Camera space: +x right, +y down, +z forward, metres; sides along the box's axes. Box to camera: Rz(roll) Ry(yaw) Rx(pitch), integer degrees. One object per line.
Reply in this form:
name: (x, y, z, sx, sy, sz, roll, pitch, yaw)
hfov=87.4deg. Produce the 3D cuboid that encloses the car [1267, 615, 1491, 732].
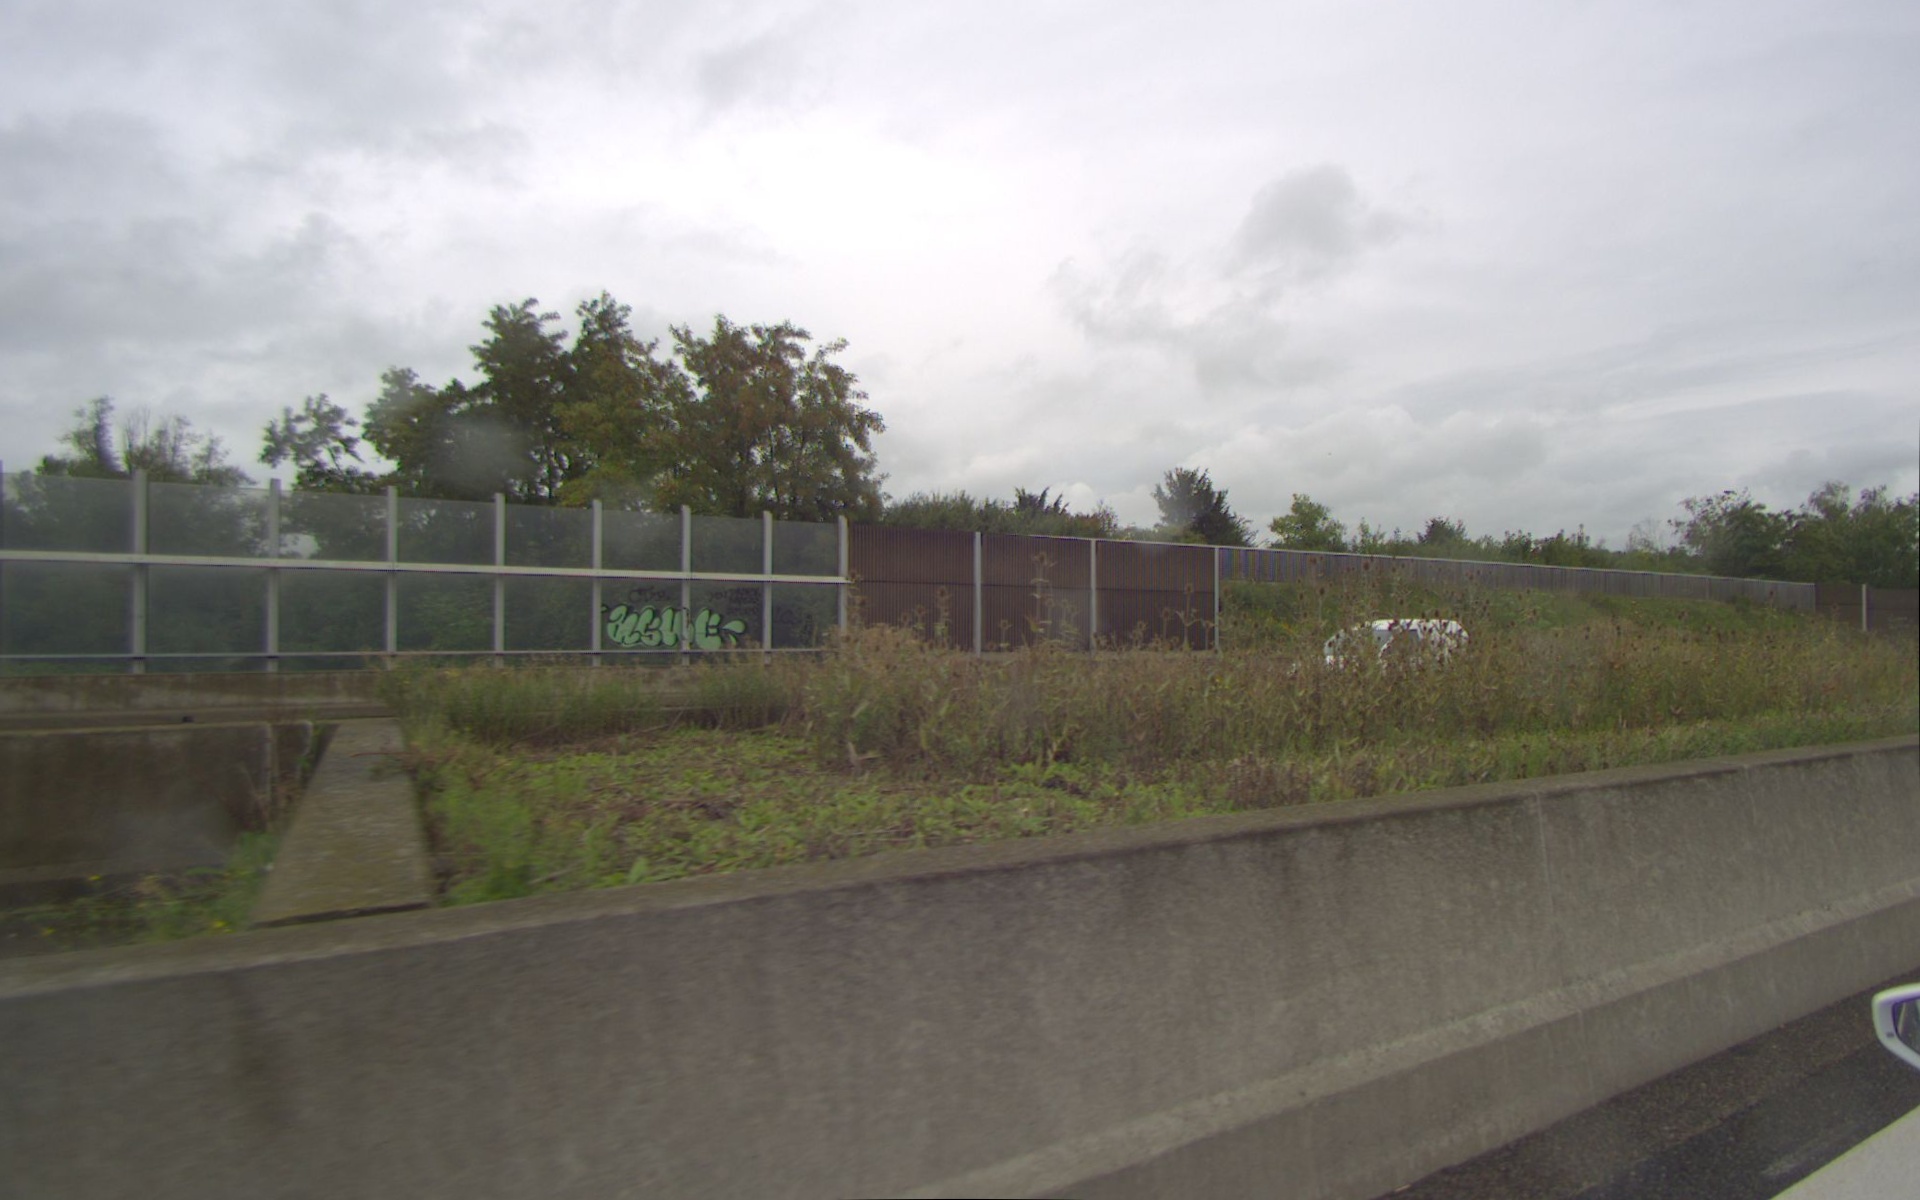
car: (8.300, 1.368, 19.834, 4.148, 2.040, 1.984, 1, 0, -30)
